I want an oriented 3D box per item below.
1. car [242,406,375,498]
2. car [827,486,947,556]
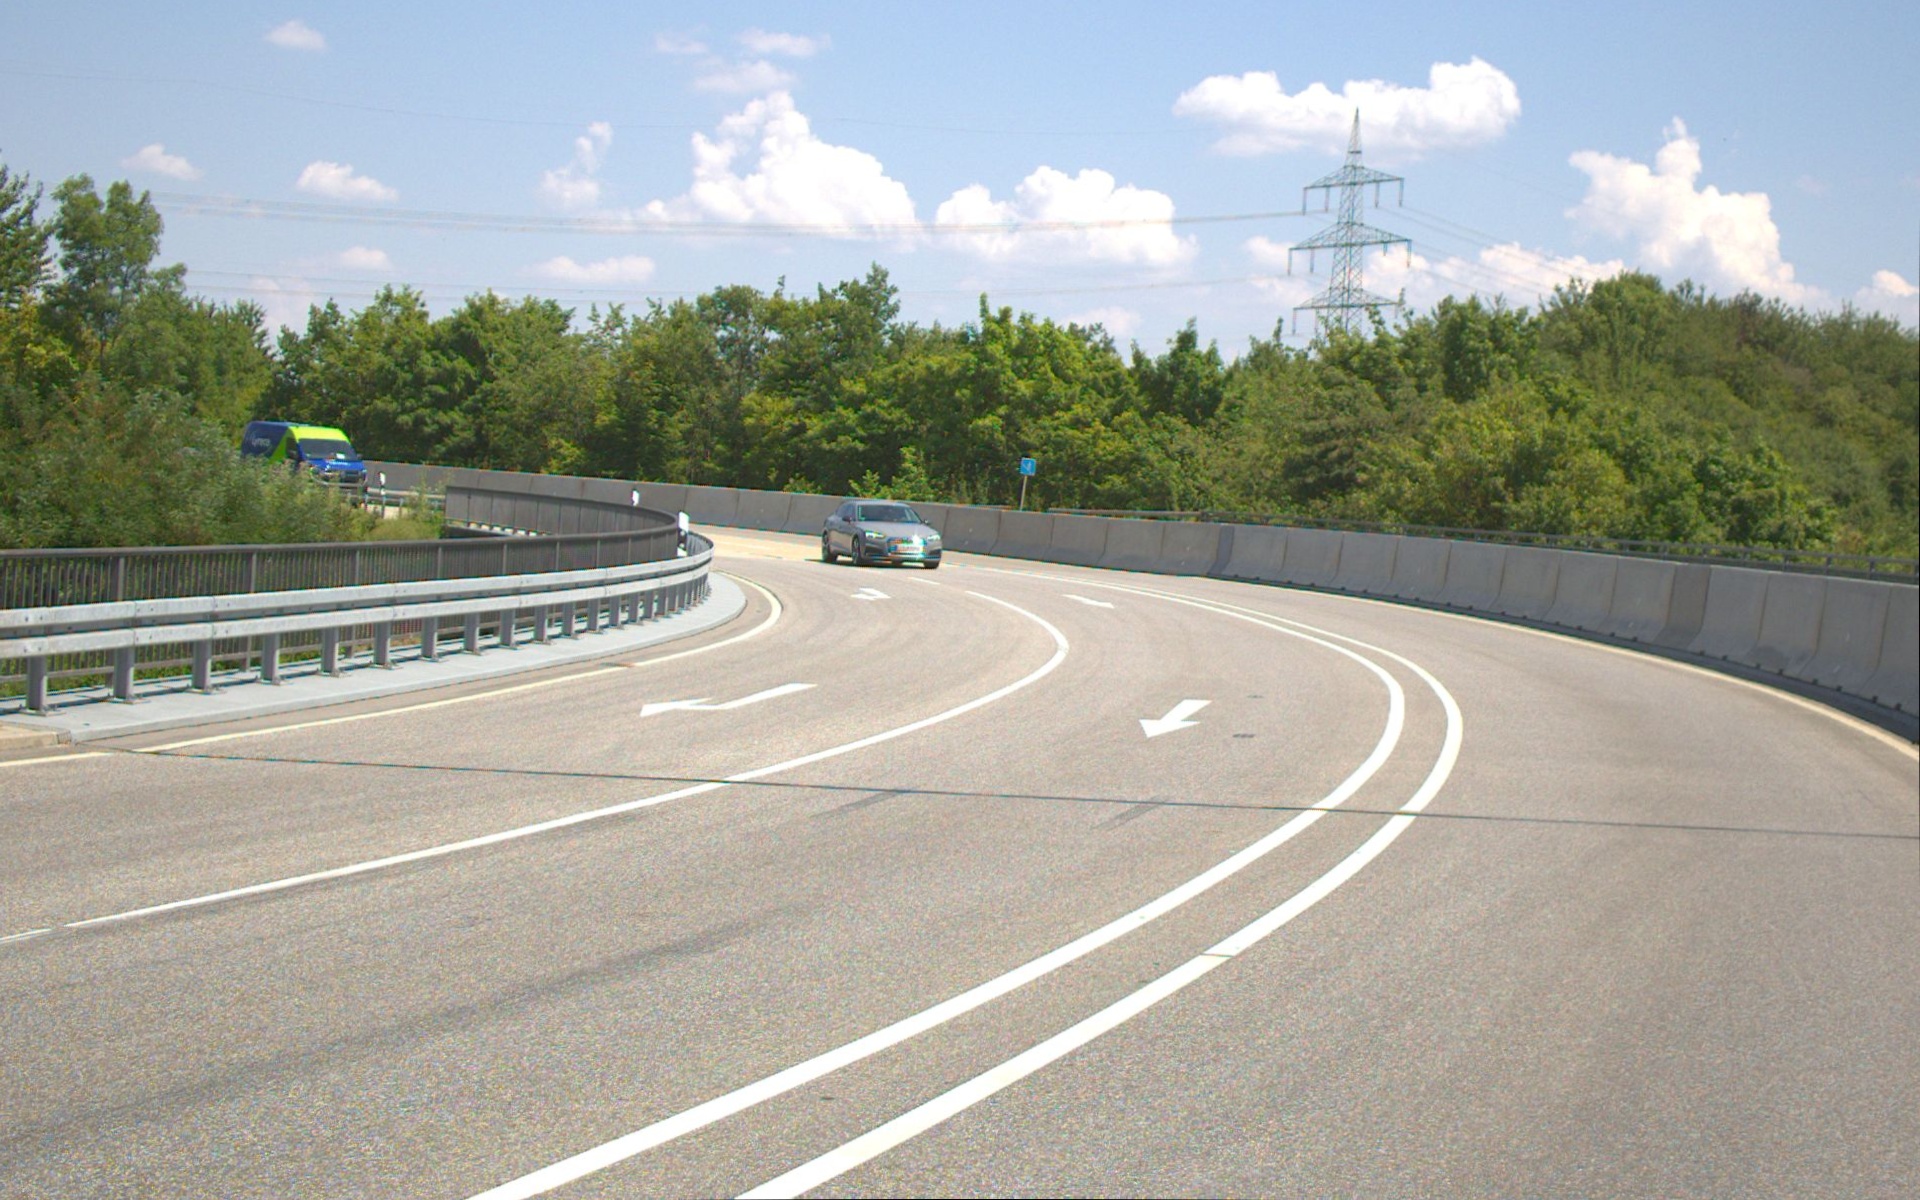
[{"bbox_3d":[-20.090,-4.584,105.816,1.994,2.474,5.482,-9,8,-30],"label":"car"},{"bbox_3d":[-1.625,-1.736,74.941,1.778,1.380,4.284,2,2,-12],"label":"car"}]
